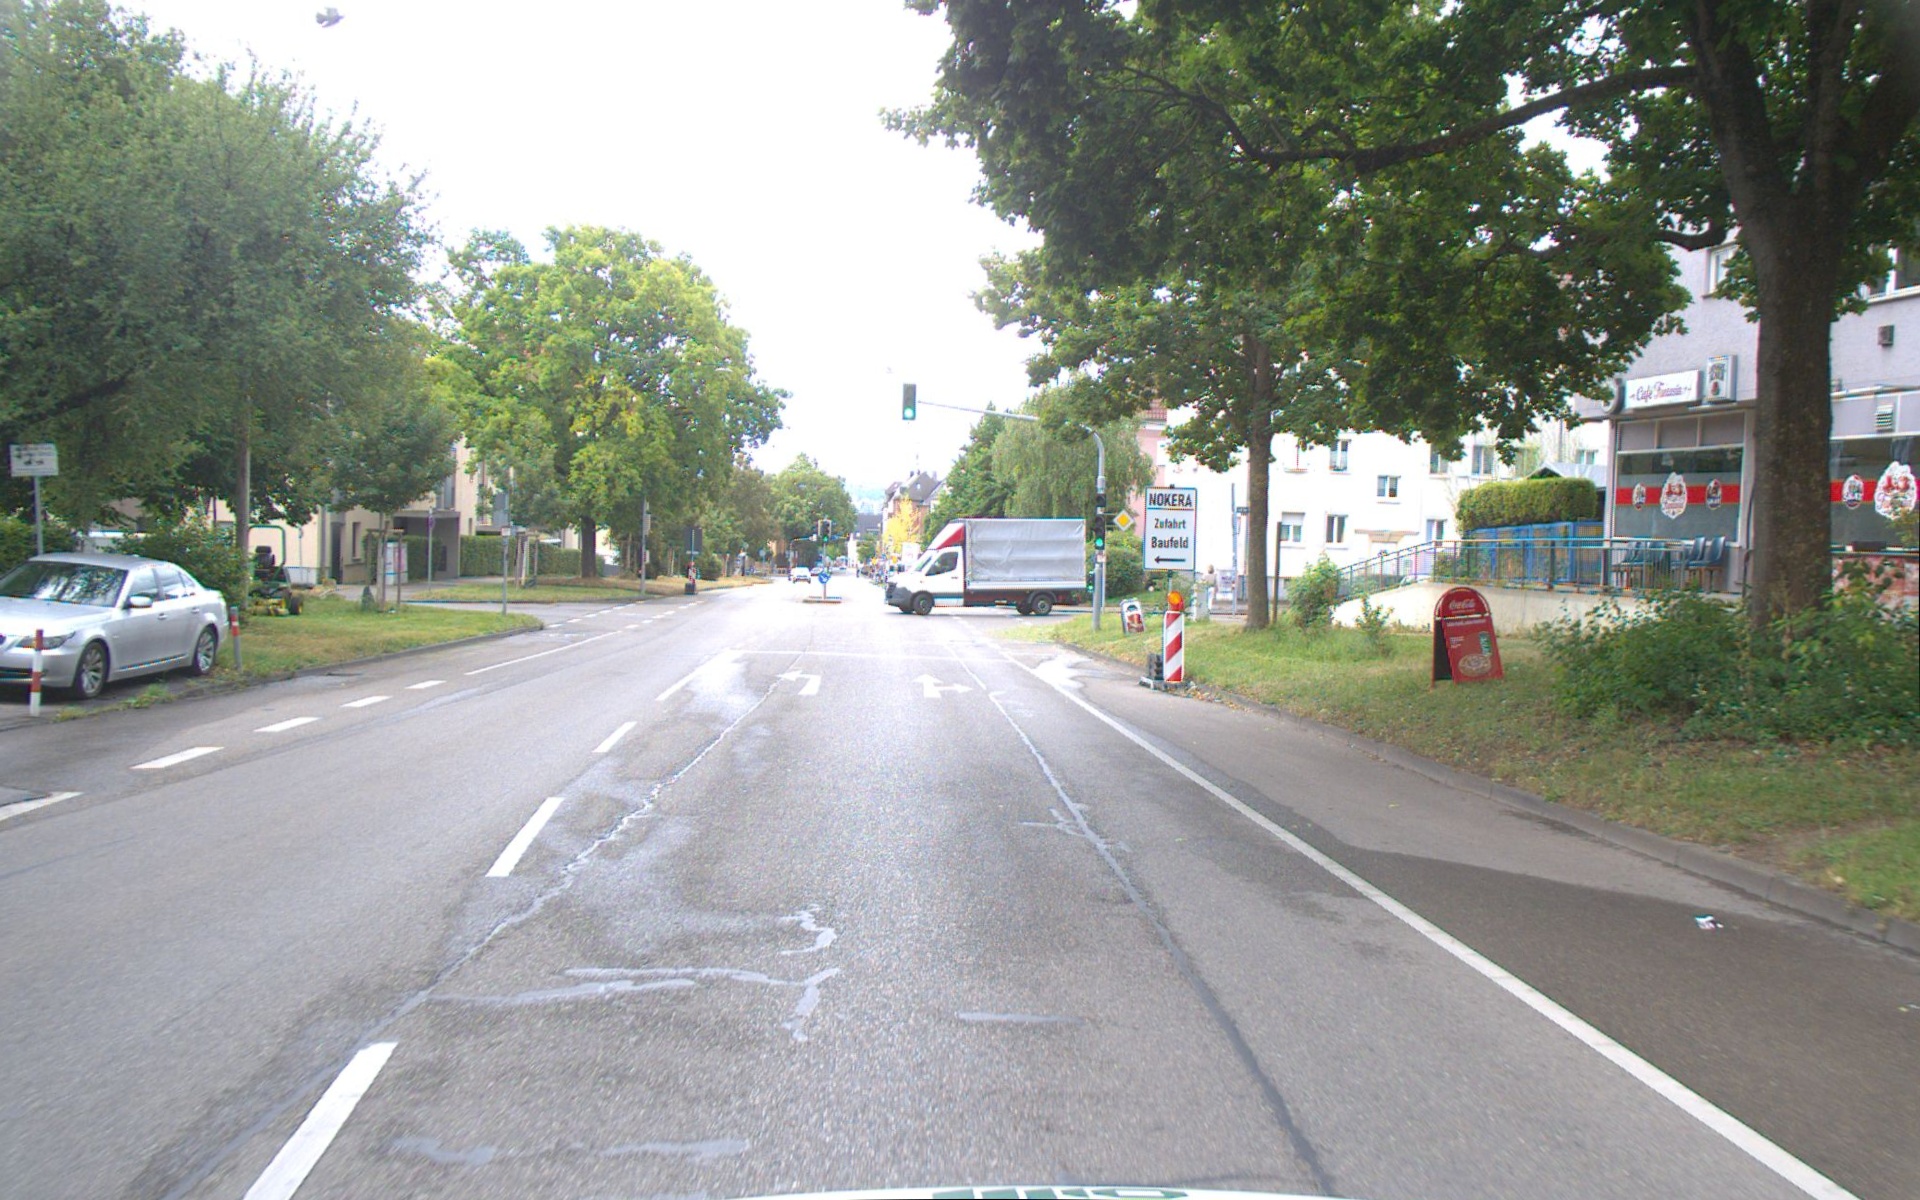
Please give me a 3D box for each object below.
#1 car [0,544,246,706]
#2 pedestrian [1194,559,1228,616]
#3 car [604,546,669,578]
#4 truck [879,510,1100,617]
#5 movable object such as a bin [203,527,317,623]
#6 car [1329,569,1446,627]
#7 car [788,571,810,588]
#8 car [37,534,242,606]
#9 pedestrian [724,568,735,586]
[{"bbox_3d":[-10.283,0.211,19.520,1.726,1.661,4.751,2,1,-2],"label":"car"},{"bbox_3d":[8.372,-0.429,55.188,0.736,1.887,0.950,-2,1,-18],"label":"pedestrian"},{"bbox_3d":[-18.382,-2.153,94.161,3.382,1.623,1.998,2,0,-5],"label":"car"},{"bbox_3d":[0.989,-1.216,56.691,7.105,3.364,2.531,1,1,-14],"label":"truck"},{"bbox_3d":[-14.962,-0.537,35.477,1.193,1.936,3.024,2,1,-3],"label":"movable object such as a bin"},{"bbox_3d":[12.035,-0.087,46.837,1.834,1.498,3.994,2,1,-7],"label":"car"},{"bbox_3d":[-15.568,-1.978,159.841,1.954,1.531,3.996,2,1,-5],"label":"car"},{"bbox_3d":[-23.900,-0.866,48.336,4.896,1.845,1.998,2,0,-5],"label":"car"},{"bbox_3d":[-21.580,-2.161,154.763,0.931,1.678,1.041,2,0,-10],"label":"pedestrian"}]
